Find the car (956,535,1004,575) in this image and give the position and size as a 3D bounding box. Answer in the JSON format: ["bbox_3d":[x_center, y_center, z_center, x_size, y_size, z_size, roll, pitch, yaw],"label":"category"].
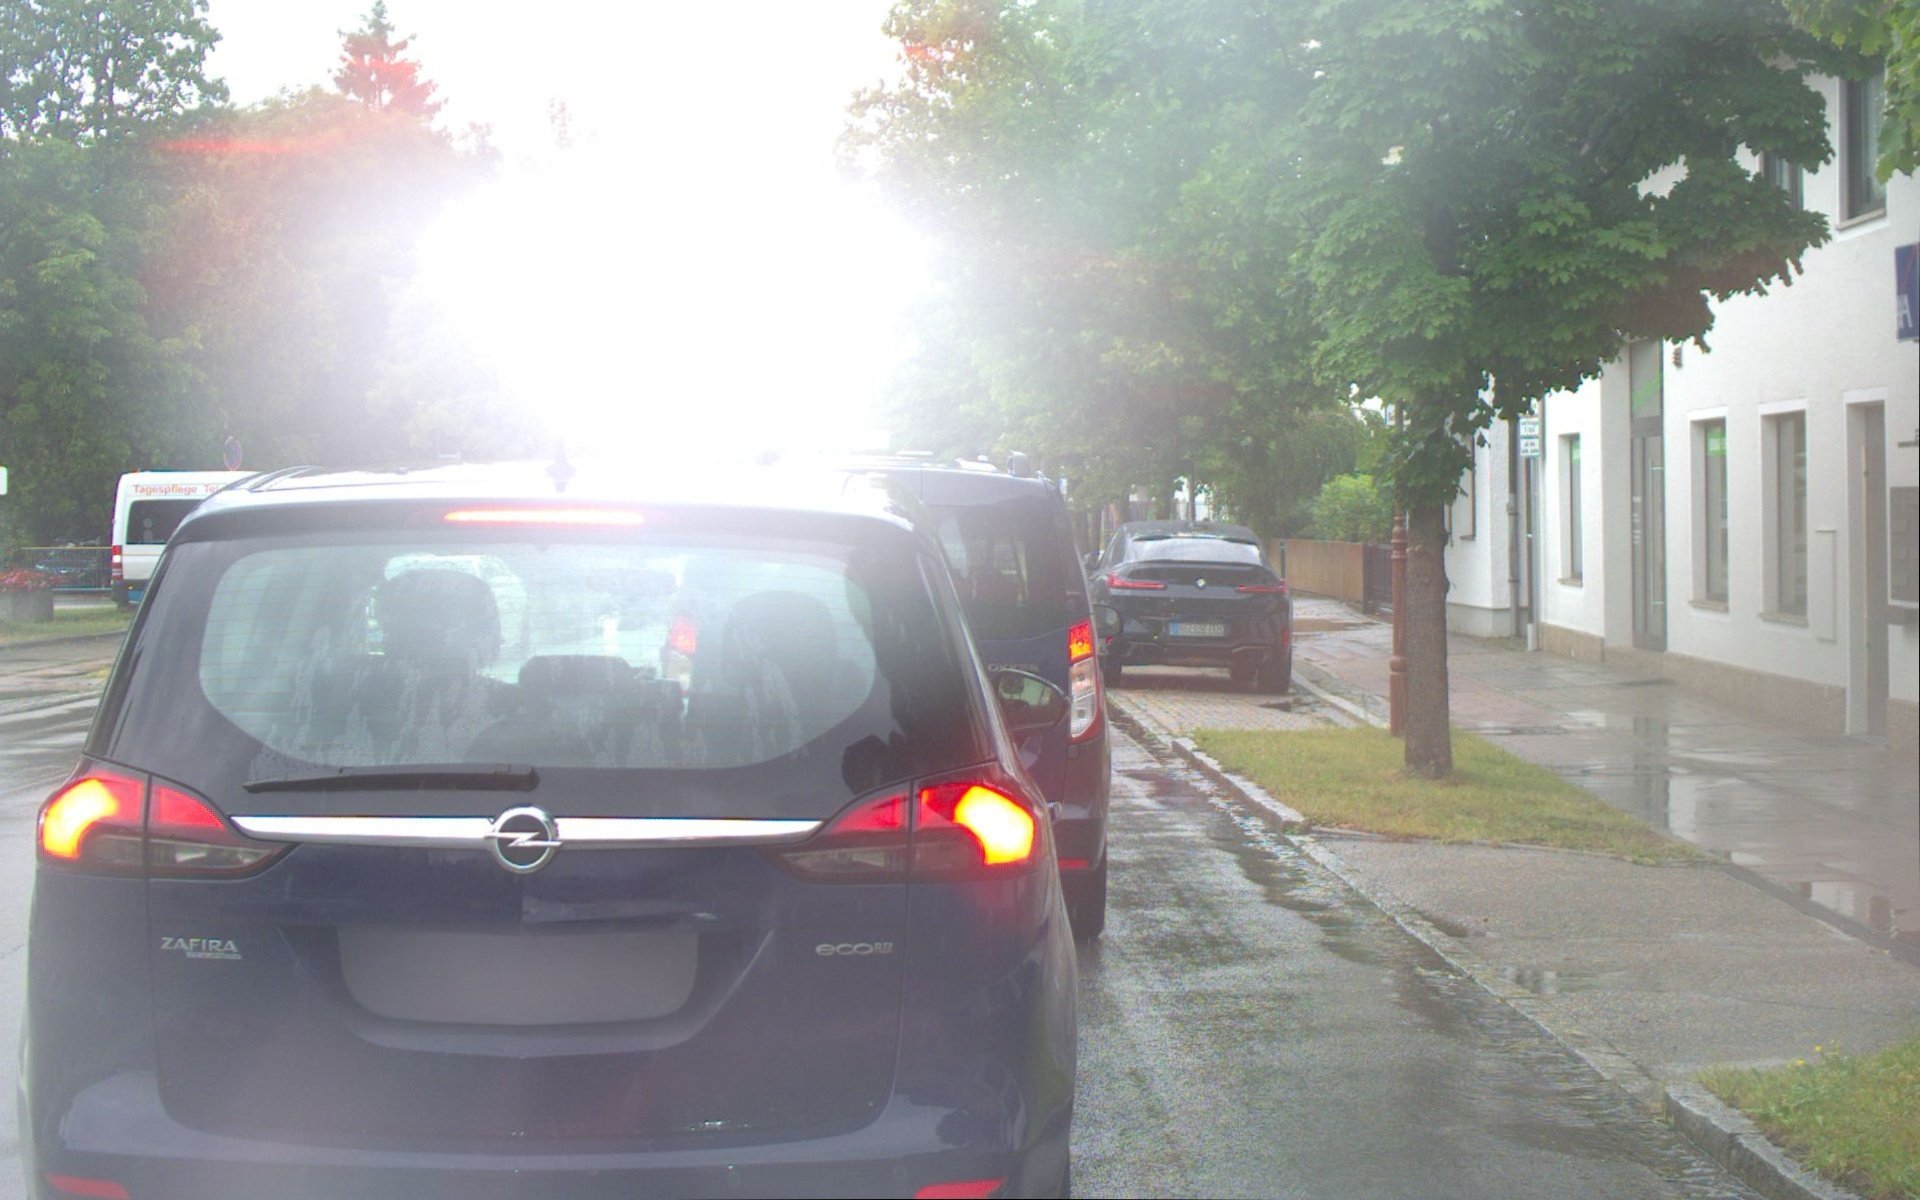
[{"bbox_3d":[0.711,-1.591,122.708,1.630,1.373,3.623,1,1,-1],"label":"car"}]

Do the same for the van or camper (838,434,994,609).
[{"bbox_3d":[-0.705,-1.261,55.276,2.360,2.656,5.372,-1,1,-1],"label":"van or camper"}]

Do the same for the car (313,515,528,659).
[{"bbox_3d":[-6.154,-0.187,39.615,1.752,1.506,4.230,-2,1,0],"label":"car"}]

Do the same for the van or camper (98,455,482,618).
[{"bbox_3d":[-11.472,-1.102,59.243,6.247,2.698,2.101,-1,1,-4],"label":"van or camper"}]

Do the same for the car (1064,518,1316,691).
[{"bbox_3d":[2.213,0.012,34.091,2.117,1.575,3.936,1,1,-1],"label":"car"}]

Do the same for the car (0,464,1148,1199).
[{"bbox_3d":[-0.630,0.562,7.046,1.768,1.599,3.663,0,1,-1],"label":"car"}]

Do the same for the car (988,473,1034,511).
[{"bbox_3d":[1.935,-4.134,132.215,1.630,1.373,3.623,-1,1,-1],"label":"car"}]

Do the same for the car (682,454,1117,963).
[{"bbox_3d":[-0.233,0.350,13.630,1.500,1.770,3.112,1,1,-1],"label":"car"}]
